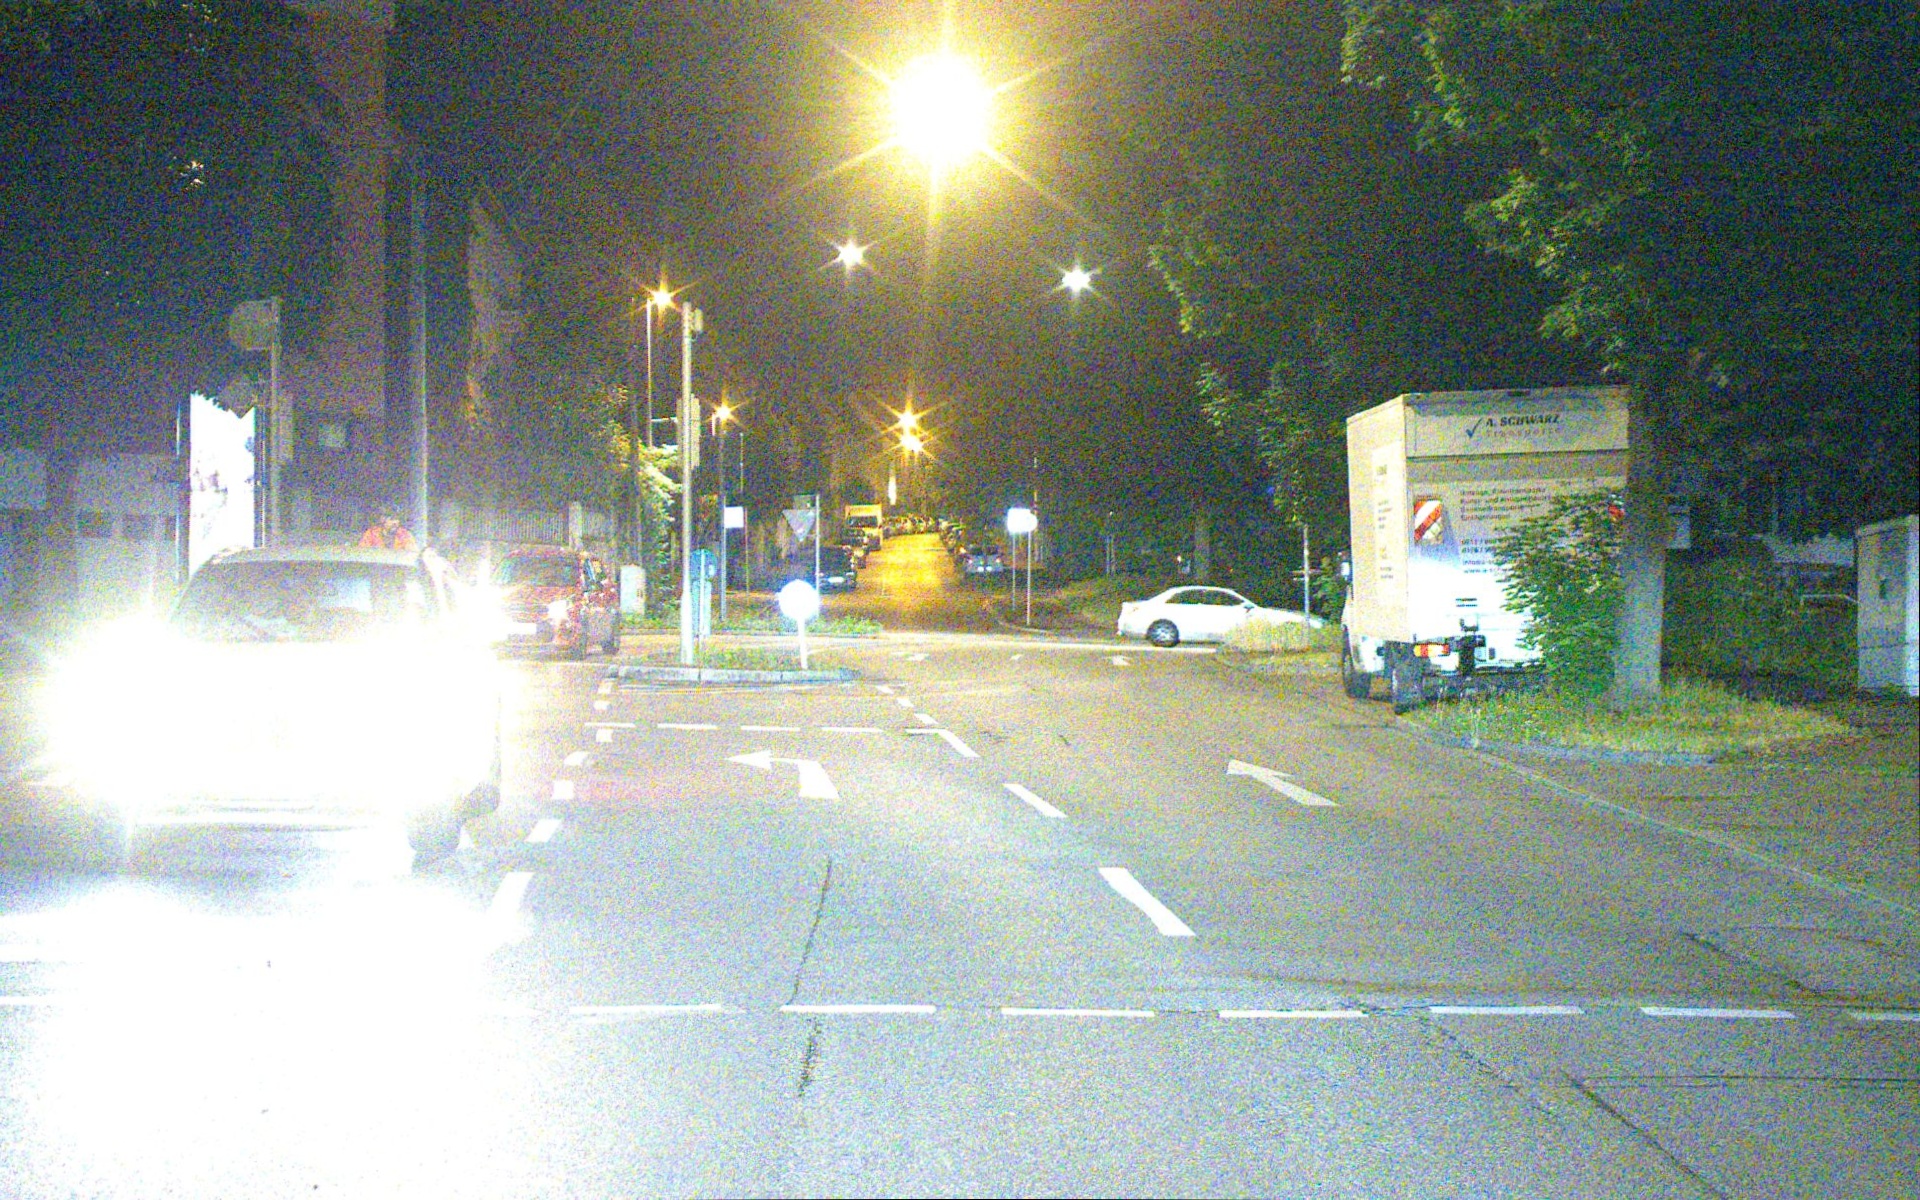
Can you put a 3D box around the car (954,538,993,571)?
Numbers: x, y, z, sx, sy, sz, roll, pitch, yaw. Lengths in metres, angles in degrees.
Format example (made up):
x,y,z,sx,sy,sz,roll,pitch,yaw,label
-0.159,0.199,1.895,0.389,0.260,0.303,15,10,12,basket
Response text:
x,y,z,sx,sy,sz,roll,pitch,yaw,label
0.588,-2.028,153.091,1.634,1.447,3.485,1,1,-1,car

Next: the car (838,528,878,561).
x,y,z,sx,sy,sz,roll,pitch,yaw,label
-4.792,-2.609,160.565,1.815,1.486,4.000,1,1,-2,car

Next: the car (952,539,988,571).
x,y,z,sx,sy,sz,roll,pitch,yaw,label
0.451,-2.080,159.276,1.634,1.447,3.485,1,1,-1,car

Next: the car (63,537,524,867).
x,y,z,sx,sy,sz,roll,pitch,yaw,label
-3.381,0.449,18.150,1.857,1.529,4.028,1,1,-3,car

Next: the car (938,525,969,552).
x,y,z,sx,sy,sz,roll,pitch,yaw,label
-0.371,-3.416,191.477,1.634,1.447,3.485,1,1,-1,car

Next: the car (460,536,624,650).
x,y,z,sx,sy,sz,roll,pitch,yaw,label
-5.750,-0.123,47.565,1.582,1.496,3.395,1,1,5,car

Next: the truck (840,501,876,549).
x,y,z,sx,sy,sz,roll,pitch,yaw,label
-6.216,-4.536,209.576,2.086,2.838,5.832,1,1,-2,truck

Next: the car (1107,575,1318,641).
x,y,z,sx,sy,sz,roll,pitch,yaw,label
5.717,0.172,77.523,4.569,1.384,1.922,1,1,10,car

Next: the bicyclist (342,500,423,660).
x,y,z,sx,sy,sz,roll,pitch,yaw,label
-5.987,-0.206,35.682,0.690,1.631,0.896,1,0,-1,bicyclist

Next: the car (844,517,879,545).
x,y,z,sx,sy,sz,roll,pitch,yaw,label
-5.371,-3.730,186.946,1.815,1.486,4.000,1,1,-2,car

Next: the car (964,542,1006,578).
x,y,z,sx,sy,sz,roll,pitch,yaw,label
1.027,-1.671,143.358,1.634,1.447,3.485,1,1,-1,car

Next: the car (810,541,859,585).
x,y,z,sx,sy,sz,roll,pitch,yaw,label
-4.899,-1.455,134.444,1.815,1.678,4.000,1,1,-1,car

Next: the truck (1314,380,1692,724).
x,y,z,sx,sy,sz,roll,pitch,yaw,label
5.280,-0.490,34.543,2.749,3.100,6.258,1,1,0,truck

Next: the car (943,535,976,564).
x,y,z,sx,sy,sz,roll,pitch,yaw,label
-0.019,-2.615,178.513,1.634,1.447,3.485,1,1,-1,car
